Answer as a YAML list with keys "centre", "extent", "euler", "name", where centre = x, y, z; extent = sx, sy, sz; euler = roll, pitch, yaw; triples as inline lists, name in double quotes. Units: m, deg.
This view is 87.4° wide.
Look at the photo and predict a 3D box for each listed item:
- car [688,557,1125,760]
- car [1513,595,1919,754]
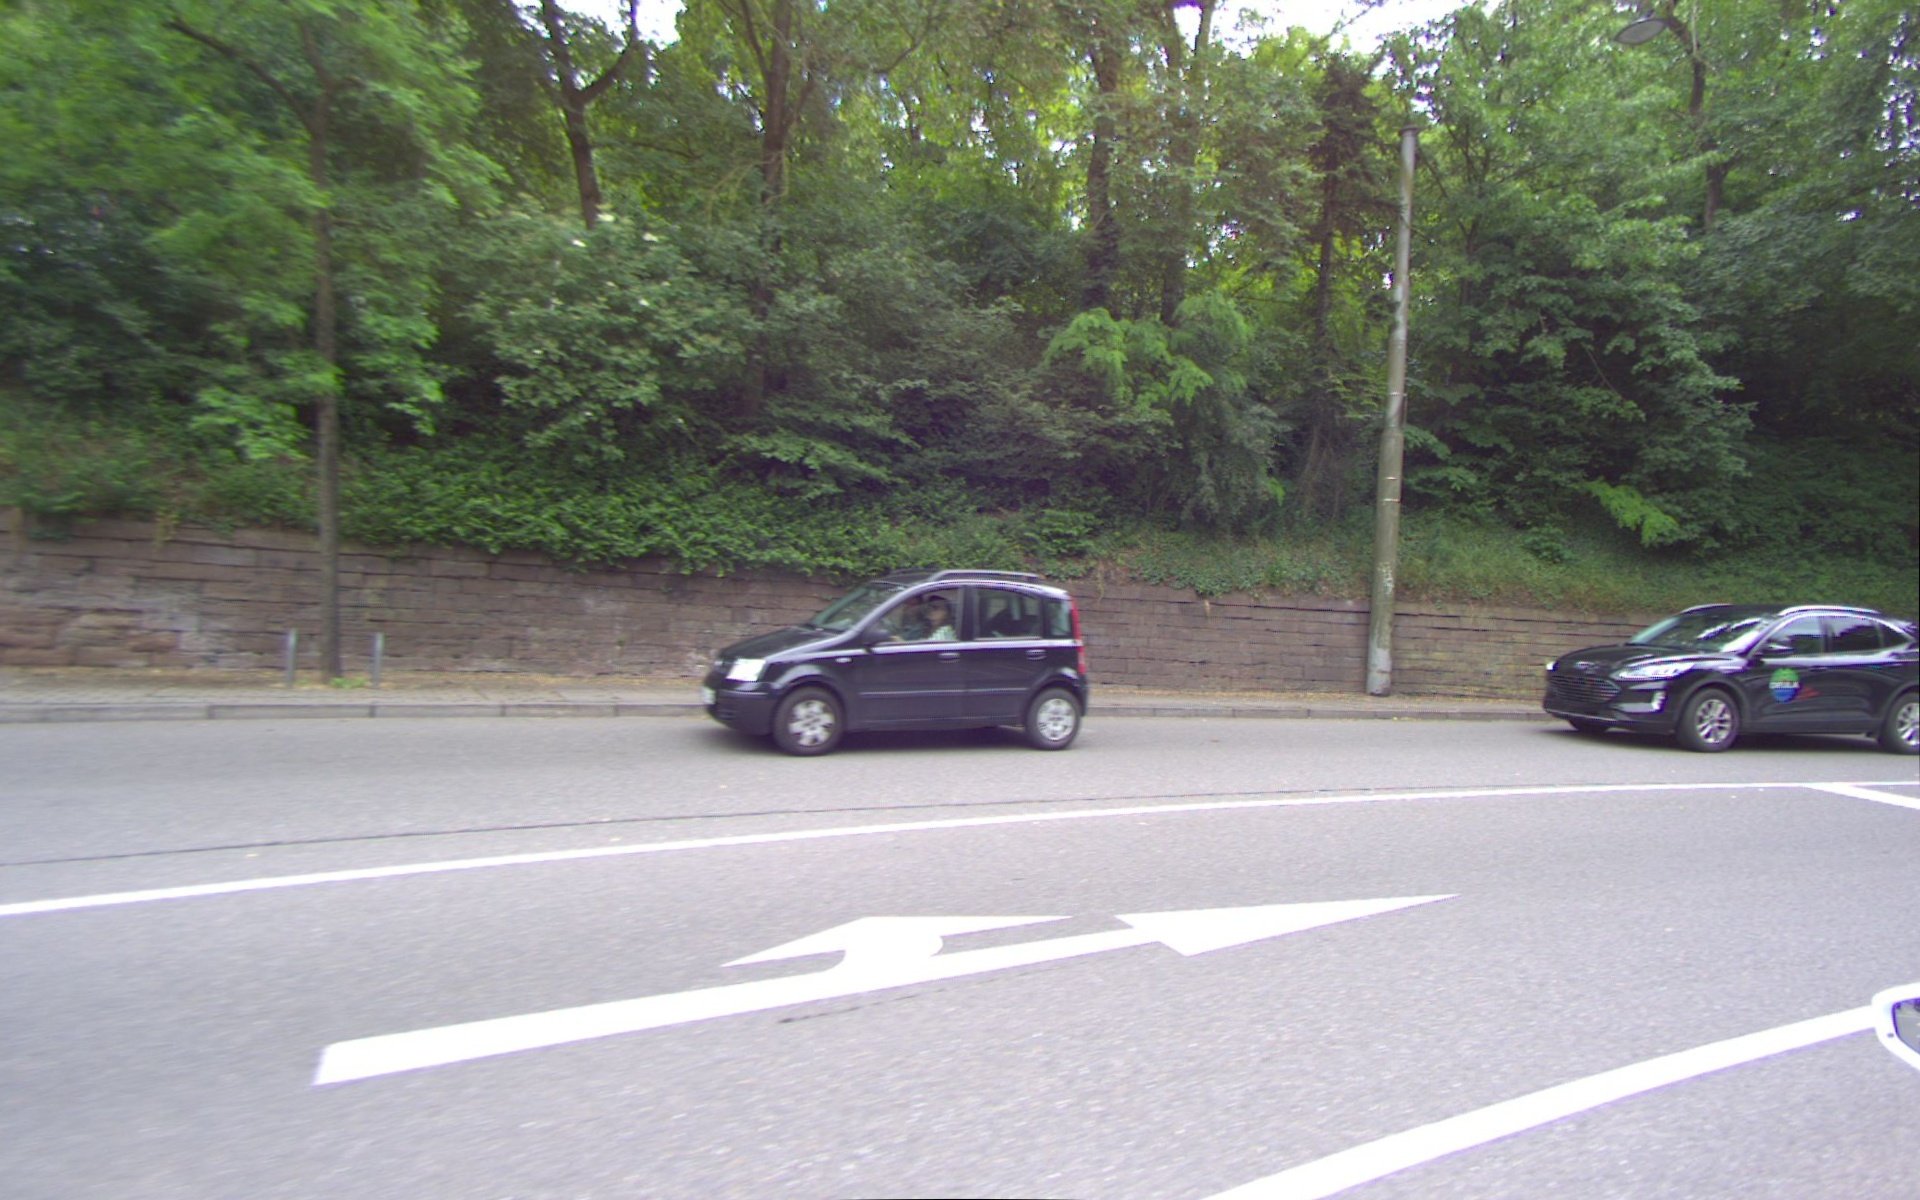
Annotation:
- centre: [-0.476, 0.491, 9.079]
  extent: [3.610, 1.545, 1.501]
  euler: [2, 1, -24]
  name: "car"
- centre: [9.245, 0.859, 11.914]
  extent: [4.565, 1.646, 1.757]
  euler: [2, 0, -9]
  name: "car"
